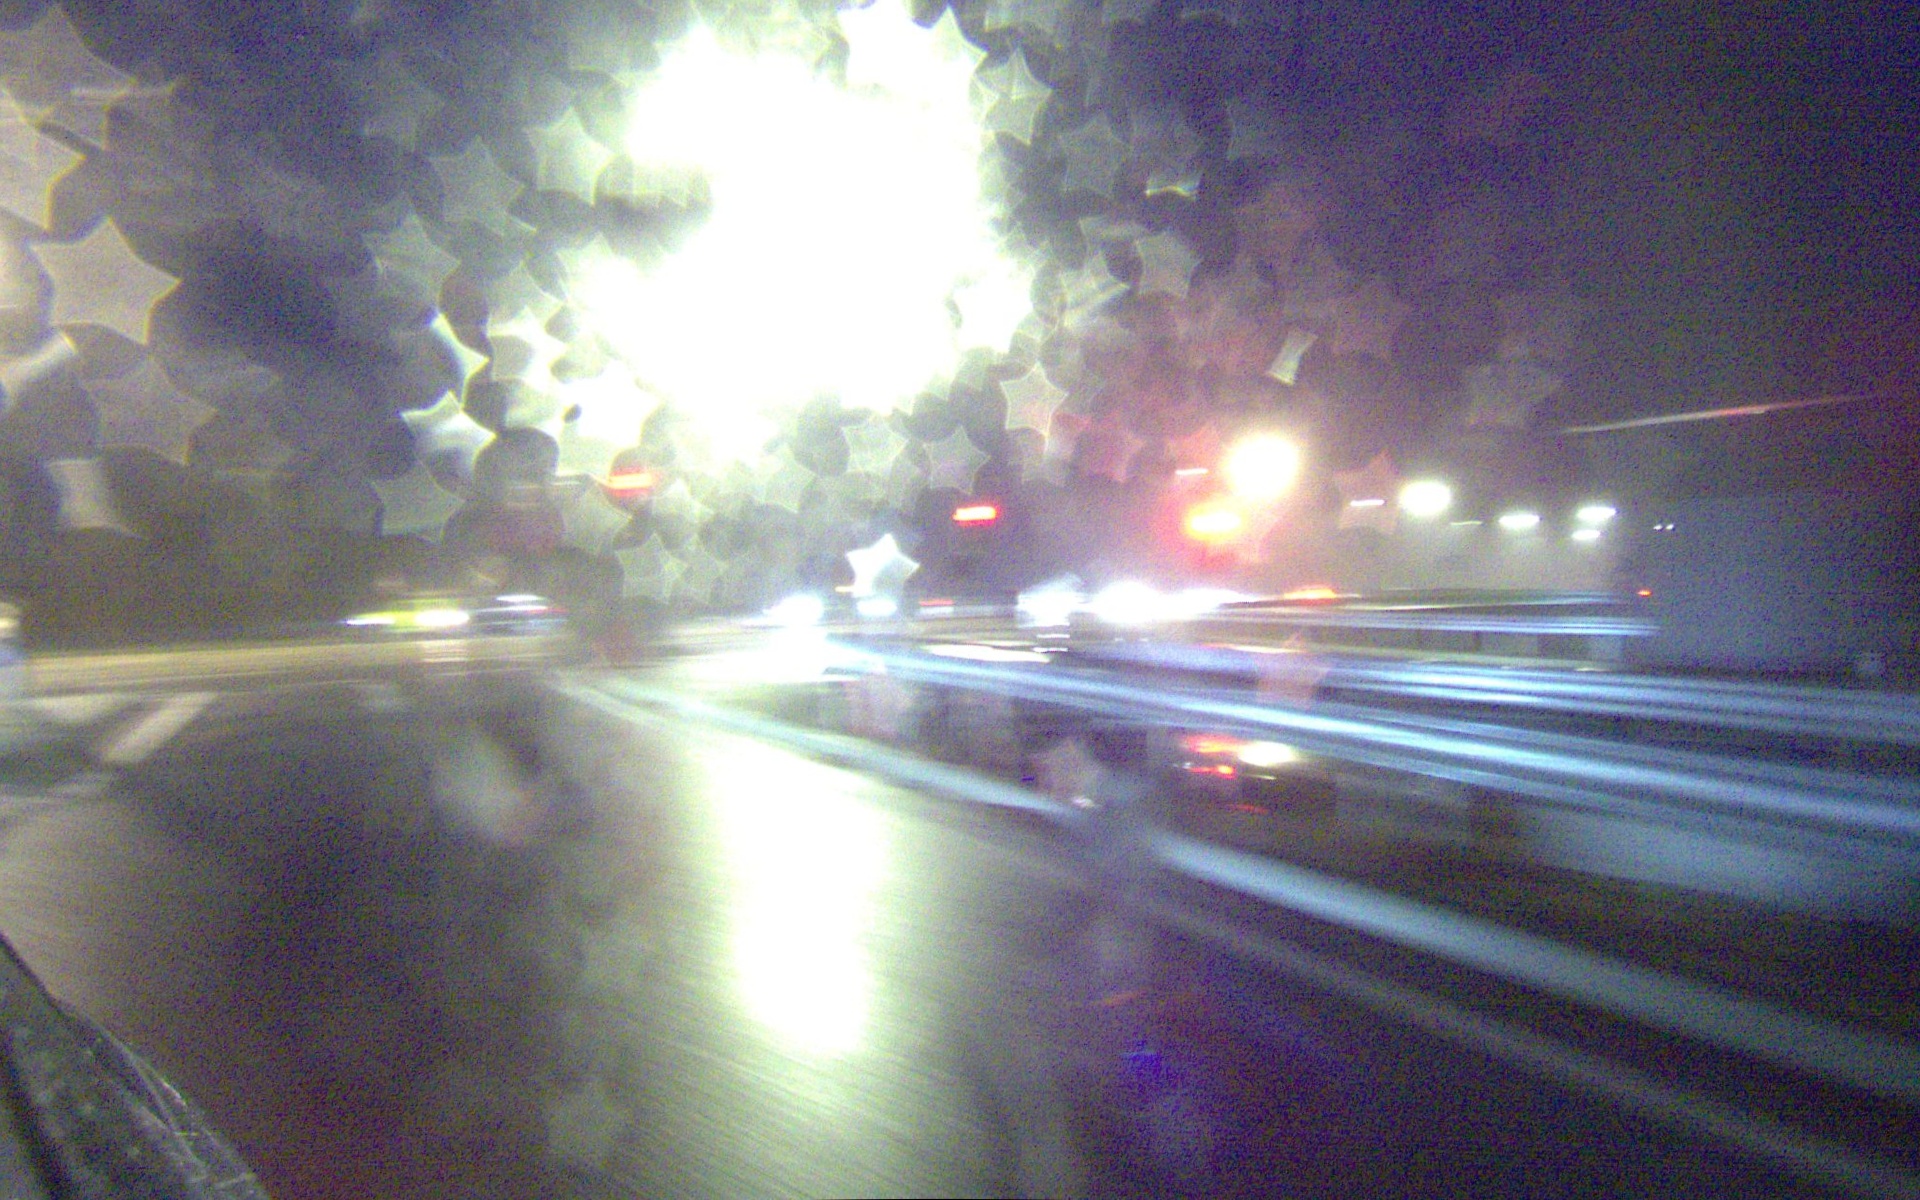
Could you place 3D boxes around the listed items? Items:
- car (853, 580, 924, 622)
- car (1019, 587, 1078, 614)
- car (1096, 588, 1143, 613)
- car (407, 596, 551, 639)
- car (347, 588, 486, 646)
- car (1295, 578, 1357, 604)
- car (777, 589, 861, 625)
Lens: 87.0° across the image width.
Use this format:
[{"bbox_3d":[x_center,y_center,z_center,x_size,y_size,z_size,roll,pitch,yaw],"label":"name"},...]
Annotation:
[{"bbox_3d":[-3.628,0.035,51.602,1.591,2.029,3.747,-1,1,35],"label":"car"},{"bbox_3d":[5.444,-0.004,62.056,1.755,1.554,3.740,-1,1,41],"label":"car"},{"bbox_3d":[11.255,0.014,71.280,1.611,1.687,3.741,-1,1,40],"label":"car"},{"bbox_3d":[-17.324,0.601,36.605,1.652,1.369,4.390,-1,1,44],"label":"car"},{"bbox_3d":[-20.536,0.607,38.348,4.289,2.032,1.896,-1,0,-45],"label":"car"},{"bbox_3d":[21.975,-0.560,60.631,4.205,1.463,1.804,-2,1,-44],"label":"car"},{"bbox_3d":[-6.039,0.288,43.506,1.595,1.438,3.302,-1,1,44],"label":"car"}]
